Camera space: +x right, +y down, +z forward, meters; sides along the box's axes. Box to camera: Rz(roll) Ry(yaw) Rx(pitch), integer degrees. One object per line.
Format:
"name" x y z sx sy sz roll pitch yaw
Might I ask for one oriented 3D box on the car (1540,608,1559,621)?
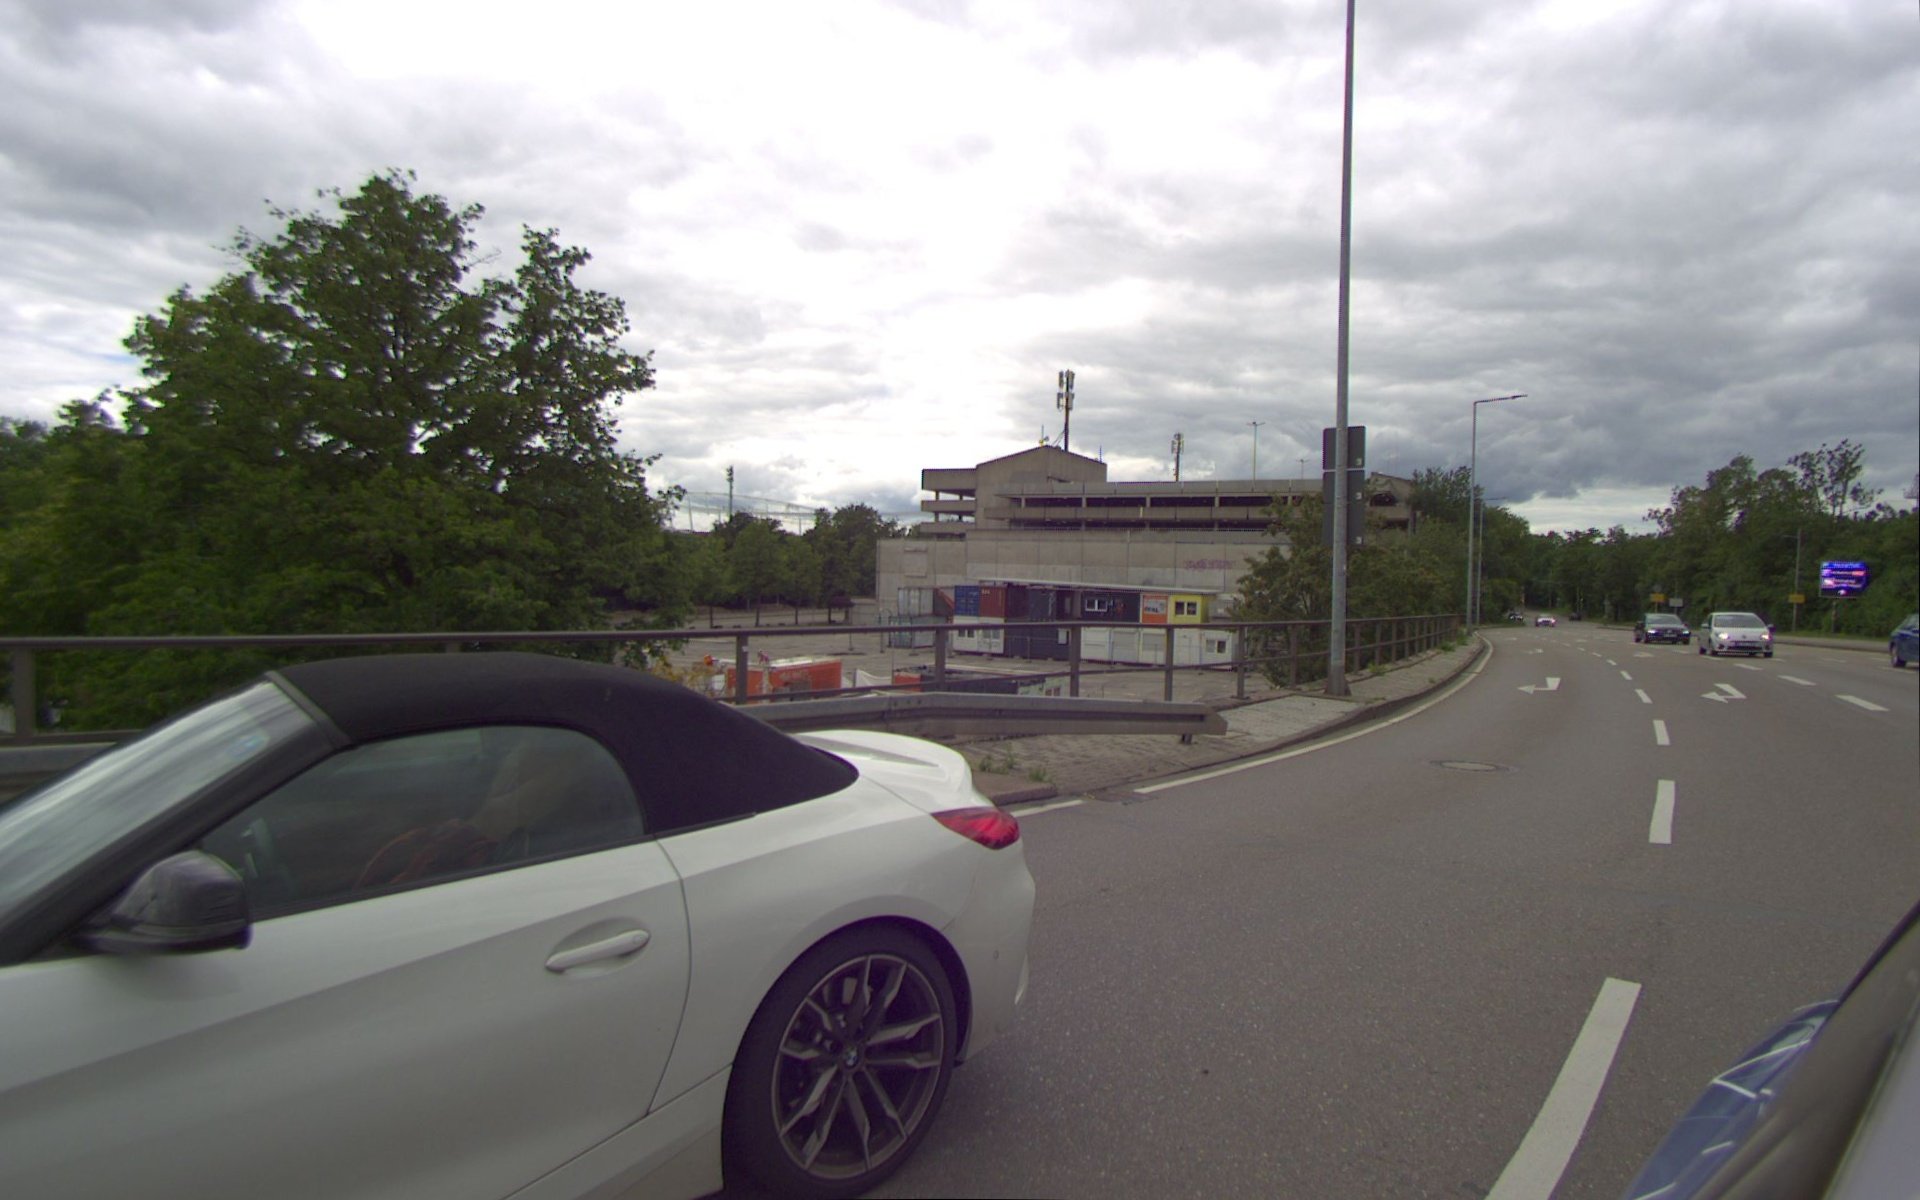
"car" 68.810 1.639 118.112 1.850 1.434 4.293 1 0 30

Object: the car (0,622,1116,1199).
"car" -1.722 0.752 2.395 4.186 1.308 1.809 0 0 -39

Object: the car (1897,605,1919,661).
"car" 25.481 0.858 25.508 1.829 1.434 4.528 1 0 31

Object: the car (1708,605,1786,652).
"car" 26.029 0.894 33.564 1.598 1.434 3.551 1 0 31

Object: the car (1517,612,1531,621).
"car" 91.331 2.707 163.773 1.849 1.434 4.296 1 0 28

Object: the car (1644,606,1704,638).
"car" 33.886 1.019 48.120 1.849 1.434 4.294 1 0 29
